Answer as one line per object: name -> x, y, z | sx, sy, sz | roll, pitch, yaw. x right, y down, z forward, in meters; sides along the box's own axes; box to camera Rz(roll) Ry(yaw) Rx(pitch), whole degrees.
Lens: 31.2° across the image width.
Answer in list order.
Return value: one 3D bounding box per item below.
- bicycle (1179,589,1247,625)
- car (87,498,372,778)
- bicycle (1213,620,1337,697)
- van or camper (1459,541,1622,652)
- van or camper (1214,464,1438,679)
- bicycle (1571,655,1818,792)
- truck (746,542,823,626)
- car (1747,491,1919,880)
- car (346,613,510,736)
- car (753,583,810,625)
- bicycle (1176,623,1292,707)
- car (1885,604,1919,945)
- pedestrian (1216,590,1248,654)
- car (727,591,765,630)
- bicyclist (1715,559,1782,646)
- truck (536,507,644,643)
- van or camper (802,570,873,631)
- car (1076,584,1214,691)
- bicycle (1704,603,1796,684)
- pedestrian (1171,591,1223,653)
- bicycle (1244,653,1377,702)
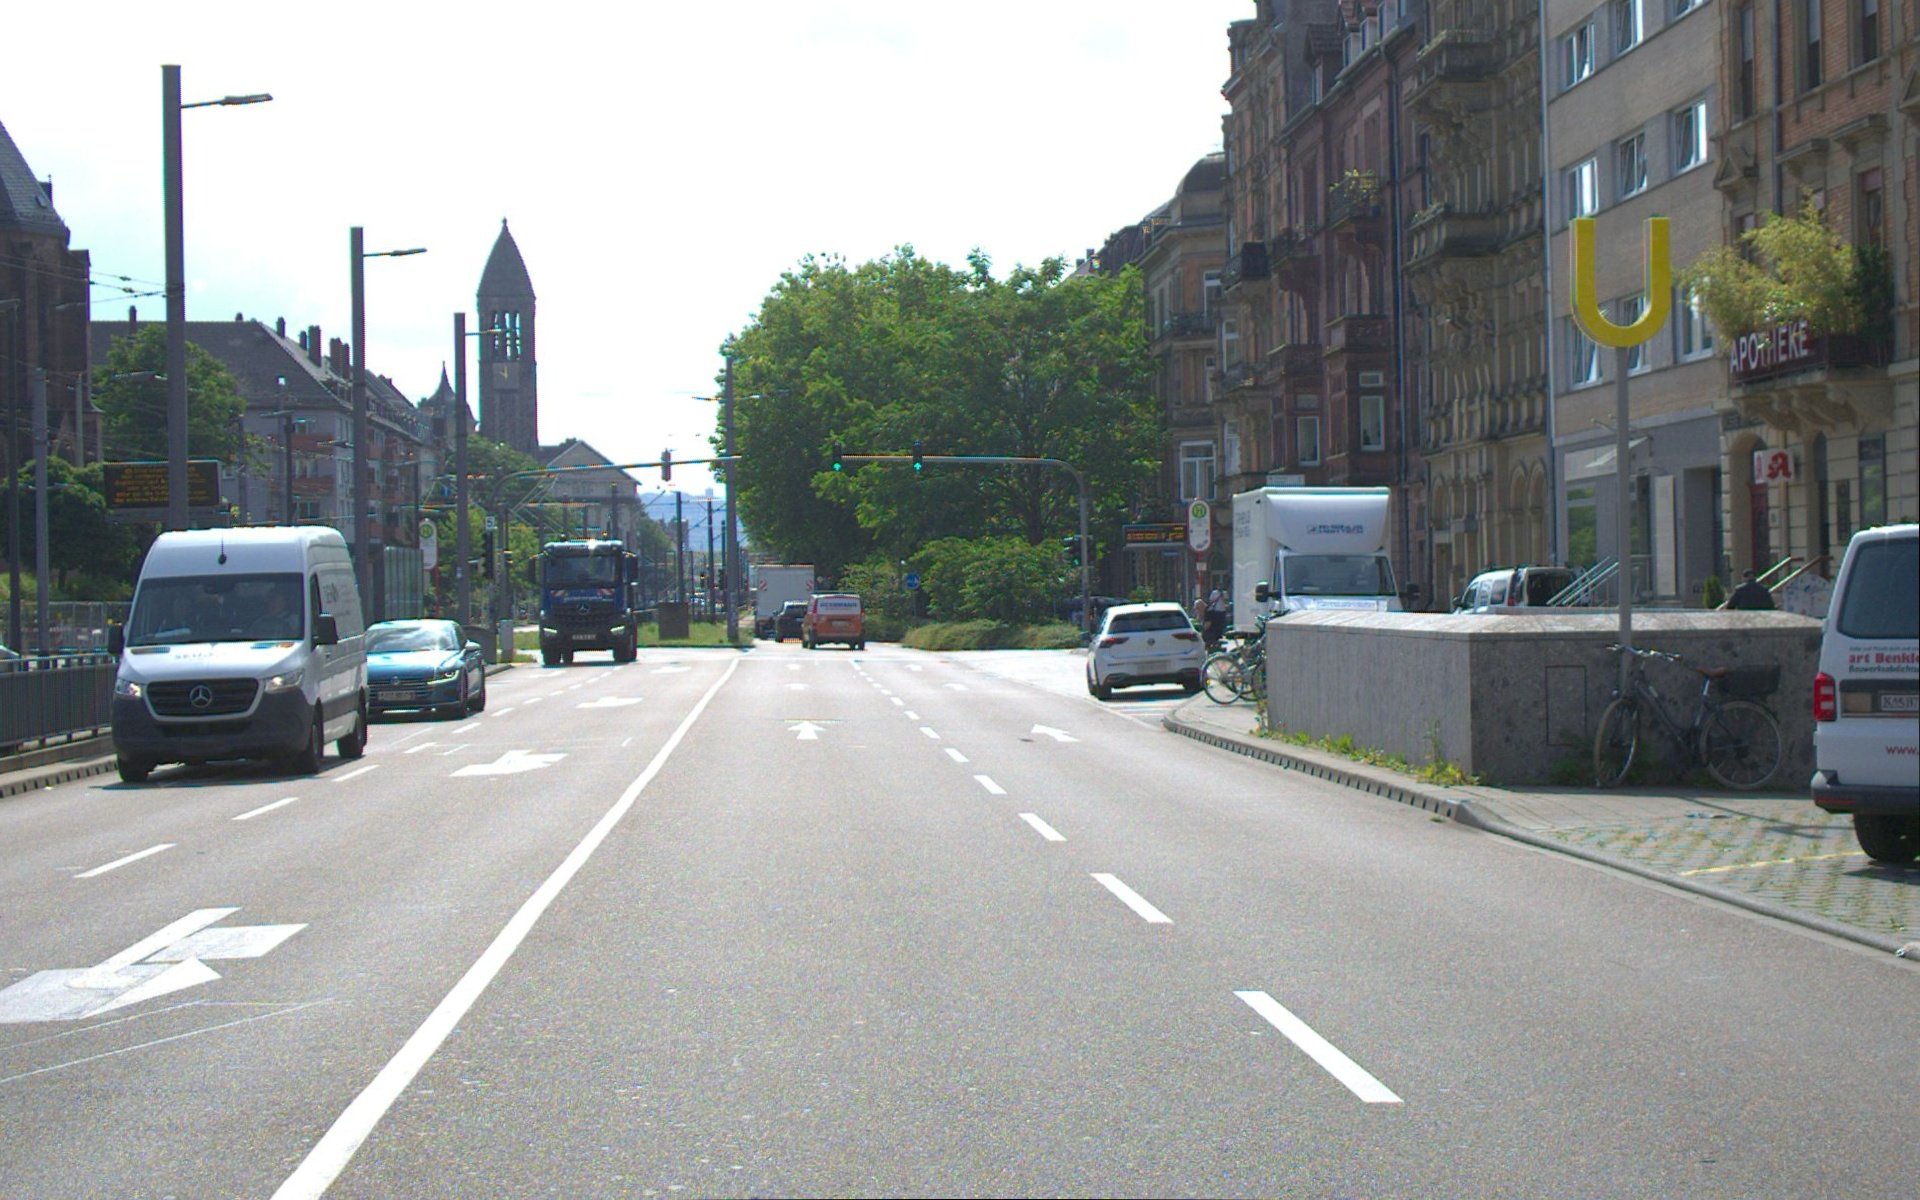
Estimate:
bicycle -> 8.609, 0.237, 117.068 | 2.189, 1.176, 0.684 | -1, 2, -7
car -> -7.579, 0.285, 36.237 | 1.993, 2.612, 5.581 | -2, 2, -3
bicycle -> 4.595, 0.848, 50.205 | 1.758, 1.081, 0.372 | -1, 3, -8
van or camper -> 11.467, -0.114, 68.293 | 1.993, 1.898, 5.299 | -3, 2, -3
van or camper -> 6.040, -0.568, 57.887 | 2.712, 3.319, 7.641 | -1, 2, -1
bicycle -> 5.696, 0.958, 26.677 | 1.772, 1.000, 0.513 | 1, 2, -8
truck -> -7.575, -0.653, 149.039 | 3.169, 3.275, 7.296 | 0, -3, -2
car -> 6.929, 0.423, 20.214 | 4.886, 2.077, 2.079 | -1, 3, -43
car -> -7.910, 1.077, 51.498 | 1.849, 1.450, 4.556 | -3, 3, -2
car -> -6.698, 0.141, 128.787 | 1.993, 1.503, 4.001 | -1, 0, -4
bicycle -> 3.793, 0.895, 47.613 | 1.596, 1.081, 0.372 | -1, 3, -22
car -> 6.499, 0.686, 16.065 | 5.051, 1.463, 1.890 | -3, 2, -44
pedestrian -> 8.774, 0.697, 110.894 | 0.885, 2.007, 0.996 | 1, 1, -3
car -> -10.164, 0.505, 163.438 | 1.770, 1.656, 4.000 | -1, -3, -3
bicyclist -> 10.670, 0.038, 46.538 | 0.708, 1.144, 0.813 | 1, -2, -1
truck -> -10.341, -0.706, 96.581 | 2.463, 3.636, 7.450 | -1, 0, -2
van or camper -> -4.166, 0.032, 116.544 | 2.008, 1.908, 4.523 | 1, -2, -7
car -> 2.931, 0.570, 55.178 | 1.790, 1.432, 4.344 | -5, 1, -1
bicycle -> 10.665, 0.595, 46.495 | 0.704, 1.044, 2.208 | 1, -2, -1
pedestrian -> 5.109, 0.468, 74.092 | 0.742, 1.311, 0.821 | 0, 2, -41
bicycle -> 4.646, 1.023, 45.672 | 0.636, 0.584, 1.770 | -3, 2, -43
